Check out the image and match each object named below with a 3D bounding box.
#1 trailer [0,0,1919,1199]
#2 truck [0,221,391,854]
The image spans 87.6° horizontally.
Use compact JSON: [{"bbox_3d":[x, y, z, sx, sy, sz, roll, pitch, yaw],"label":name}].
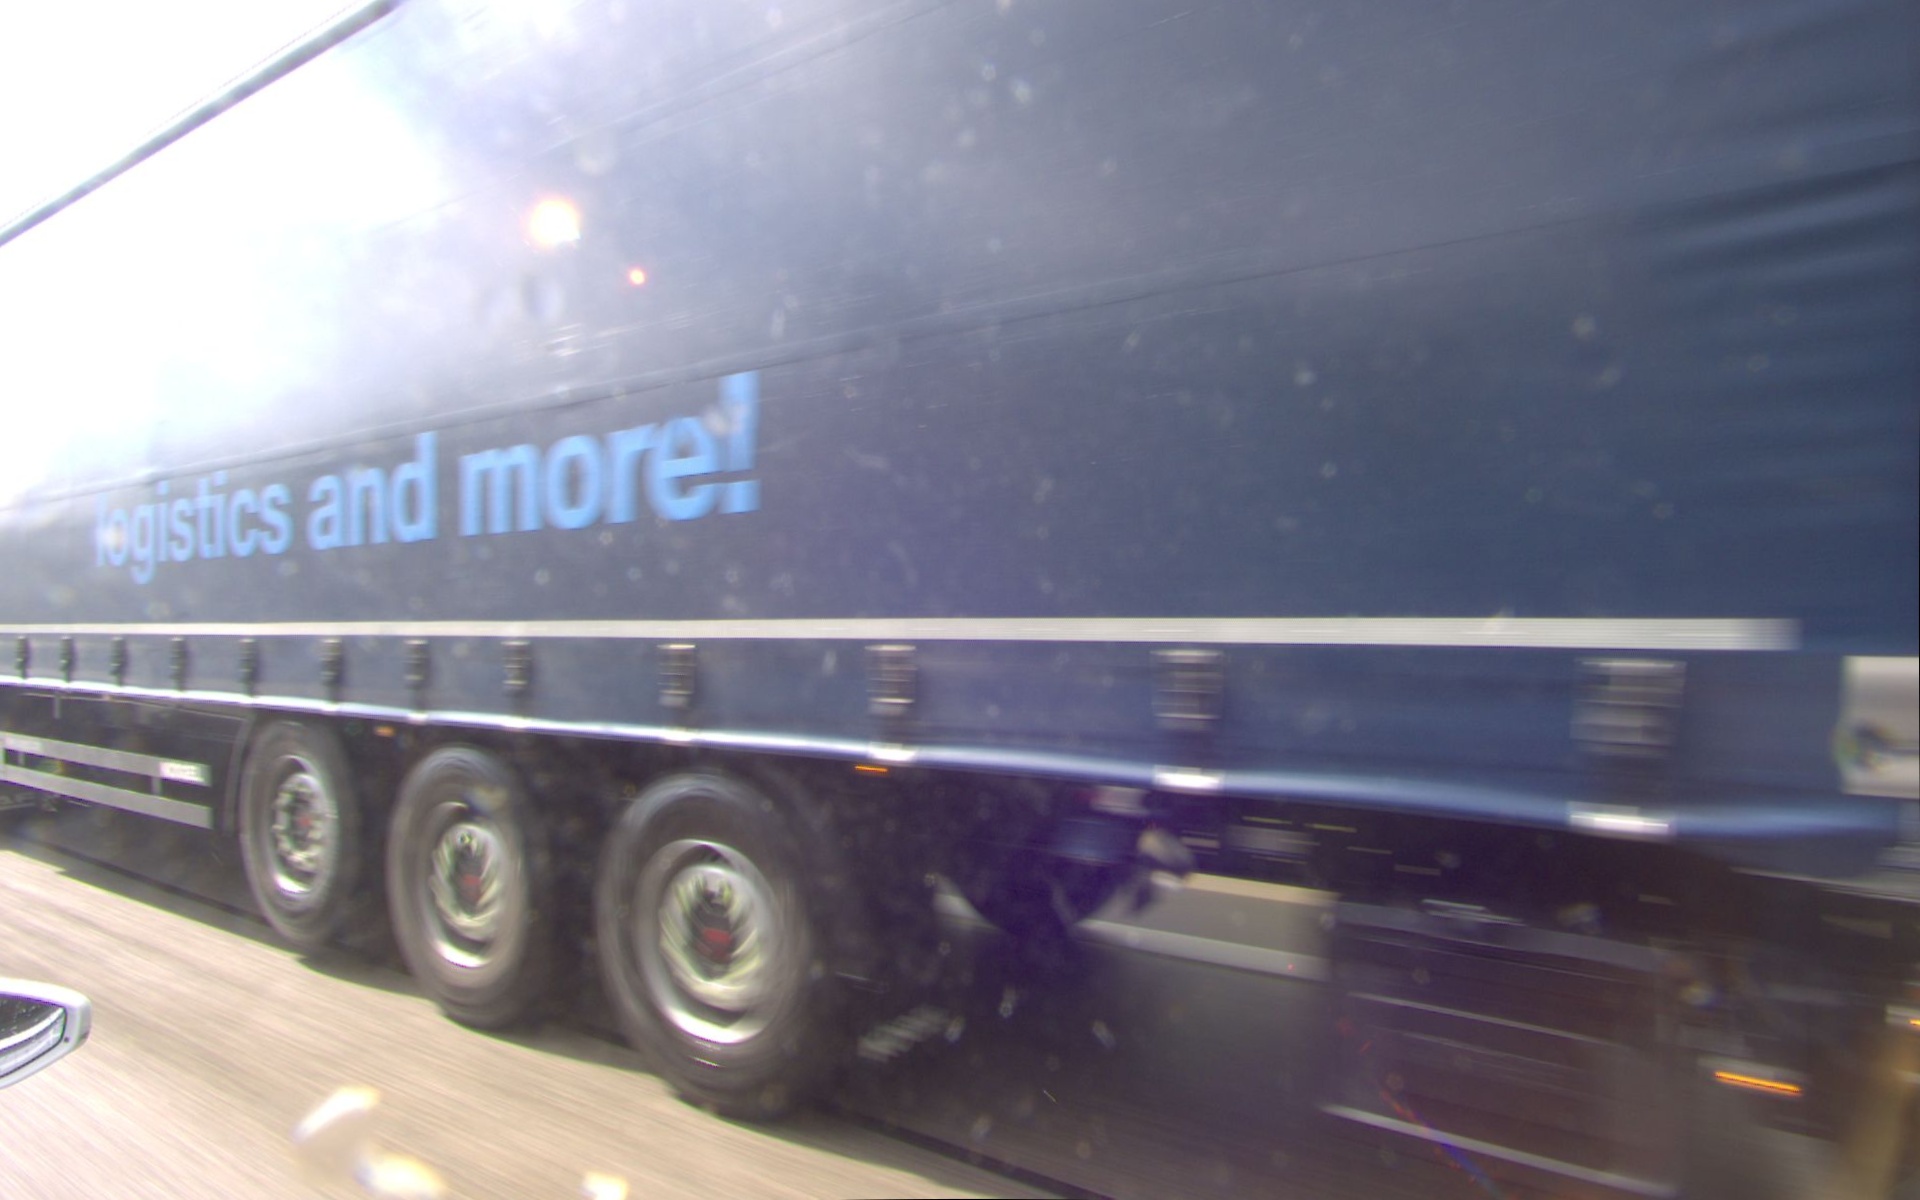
[{"bbox_3d":[-3.610,-0.423,6.176,13.866,4.047,2.629,-1,-2,33],"label":"trailer"},{"bbox_3d":[-8.546,-0.301,9.340,7.187,4.047,2.602,-1,-2,33],"label":"truck"}]
